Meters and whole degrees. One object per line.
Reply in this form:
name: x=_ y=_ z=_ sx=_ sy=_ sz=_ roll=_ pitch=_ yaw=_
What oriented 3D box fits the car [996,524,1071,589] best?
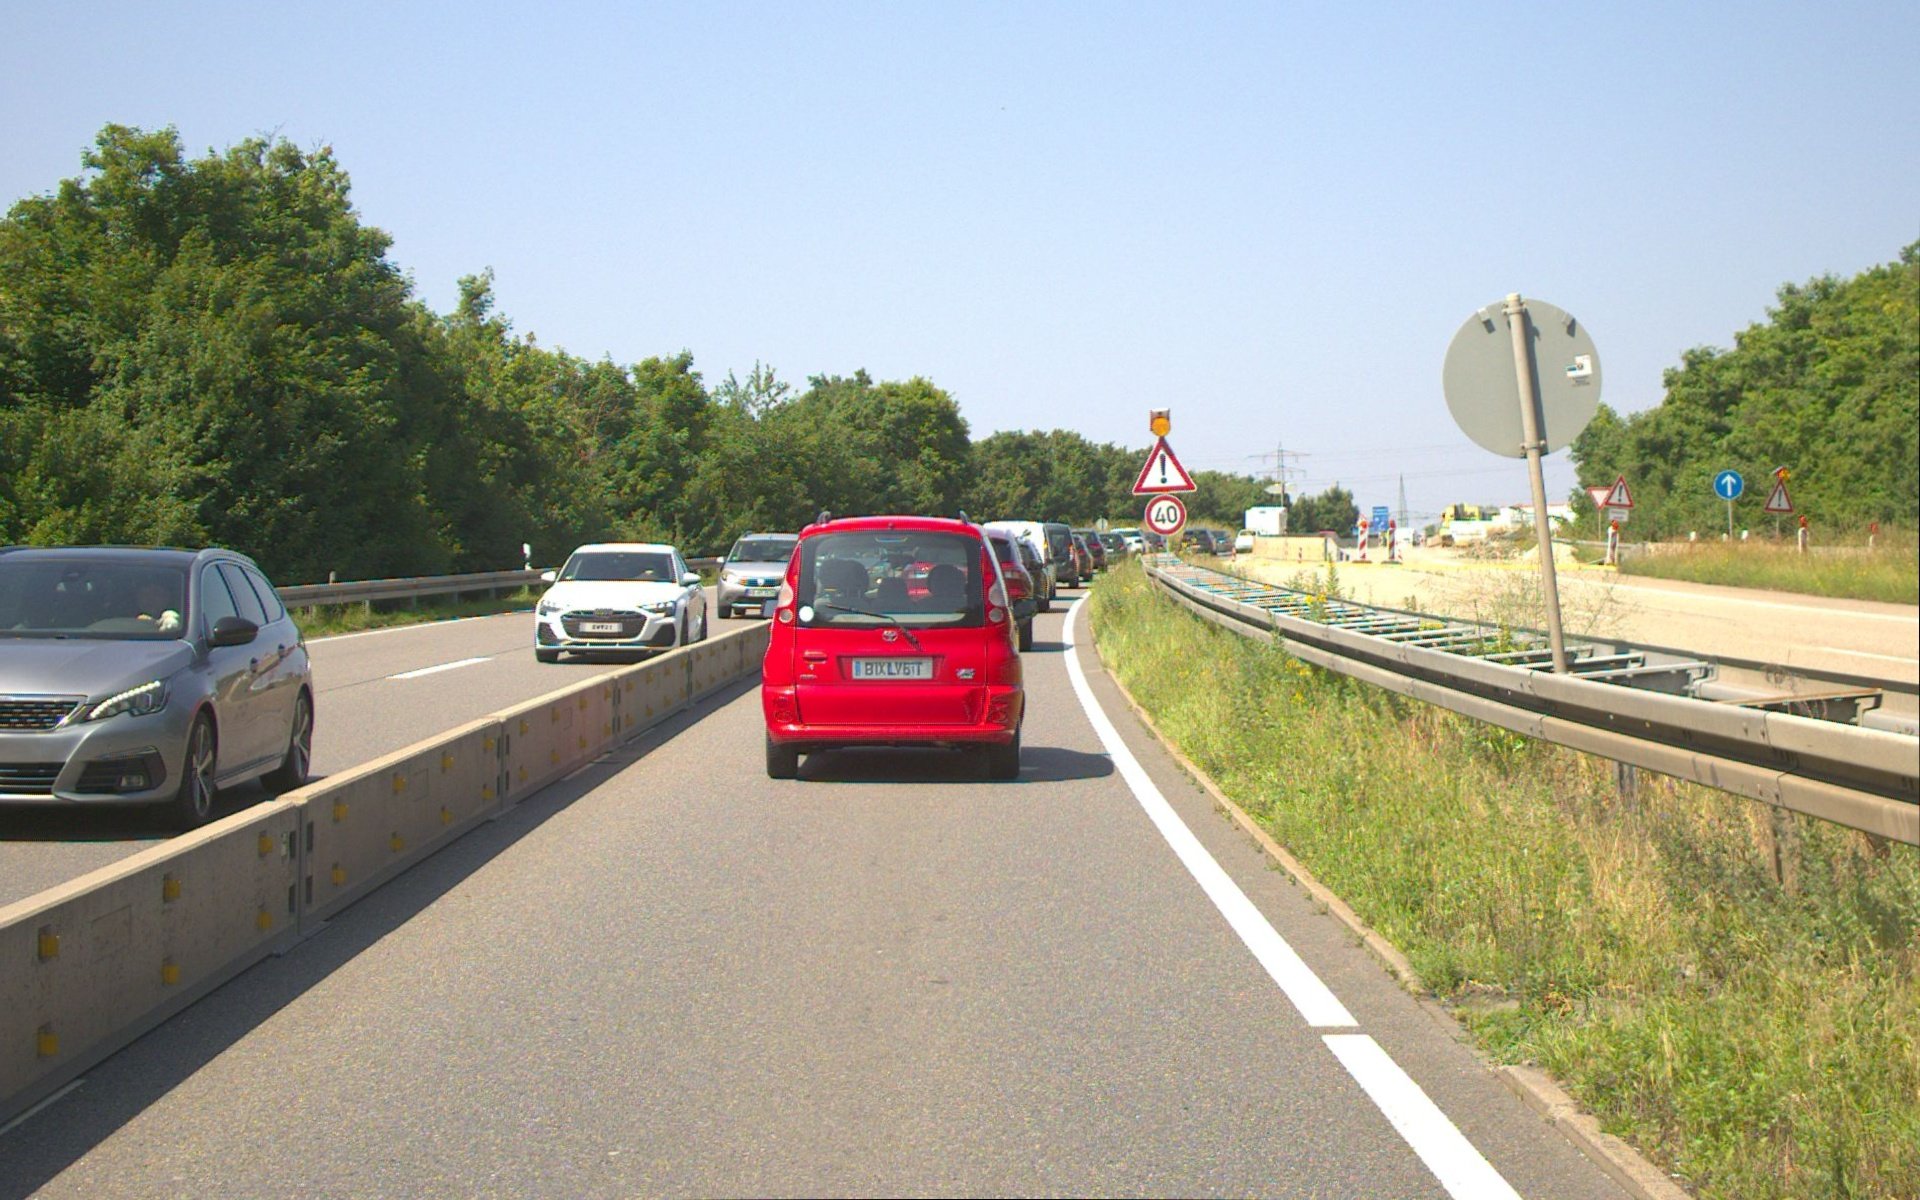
car: x=2.027 y=-1.222 z=95.565 sx=1.993 sy=1.744 sz=4.000 roll=0 pitch=1 yaw=0

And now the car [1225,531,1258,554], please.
car: x=18.288 y=-3.749 z=223.547 sx=1.994 sy=1.481 sz=4.000 roll=-1 pitch=1 yaw=2

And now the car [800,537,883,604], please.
car: x=-2.839 y=-0.719 z=82.838 sx=1.948 sy=1.573 sz=4.436 roll=0 pitch=1 yaw=-2

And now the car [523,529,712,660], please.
car: x=-4.198 y=-0.102 z=42.783 sx=1.948 sy=1.533 sz=4.436 roll=0 pitch=1 yaw=-1

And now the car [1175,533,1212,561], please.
car: x=12.850 y=-2.940 z=189.653 sx=1.994 sy=1.546 sz=4.000 roll=0 pitch=1 yaw=3

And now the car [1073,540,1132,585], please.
car: x=5.076 y=-1.337 z=122.670 sx=1.993 sy=1.579 sz=4.000 roll=0 pitch=1 yaw=1

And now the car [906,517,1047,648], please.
car: x=0.189 y=-0.269 z=47.449 sx=1.830 sy=1.716 sz=4.000 roll=-1 pitch=1 yaw=-1

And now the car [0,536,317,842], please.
car: x=-4.773 y=0.410 z=19.002 sx=1.724 sy=1.491 sz=4.389 roll=0 pitch=1 yaw=-2

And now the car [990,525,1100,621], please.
car: x=1.647 y=-0.545 z=68.067 sx=1.993 sy=1.831 sz=4.000 roll=0 pitch=1 yaw=-1

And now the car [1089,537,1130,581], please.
car: x=5.972 y=-1.631 z=137.121 sx=1.502 sy=1.730 sz=3.169 roll=1 pitch=1 yaw=4

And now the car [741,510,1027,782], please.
car: x=-0.505 y=0.246 z=23.084 sx=1.751 sy=1.667 sz=4.000 roll=0 pitch=1 yaw=-1

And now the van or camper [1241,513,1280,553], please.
van or camper: x=20.574 y=-4.602 z=235.502 sx=2.328 sy=2.697 sz=4.593 roll=-1 pitch=1 yaw=1

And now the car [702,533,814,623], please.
car: x=-3.717 y=-0.420 z=63.769 sx=1.829 sy=1.624 sz=3.784 roll=0 pitch=1 yaw=0

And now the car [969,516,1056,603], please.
car: x=1.243 y=-0.965 z=81.254 sx=1.993 sy=1.997 sz=4.000 roll=0 pitch=1 yaw=1

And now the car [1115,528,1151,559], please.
car: x=7.541 y=-2.466 z=149.795 sx=1.422 sy=1.294 sz=2.878 roll=0 pitch=1 yaw=6

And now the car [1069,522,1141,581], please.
car: x=4.517 y=-1.527 z=107.688 sx=1.993 sy=1.777 sz=4.000 roll=0 pitch=1 yaw=-1
